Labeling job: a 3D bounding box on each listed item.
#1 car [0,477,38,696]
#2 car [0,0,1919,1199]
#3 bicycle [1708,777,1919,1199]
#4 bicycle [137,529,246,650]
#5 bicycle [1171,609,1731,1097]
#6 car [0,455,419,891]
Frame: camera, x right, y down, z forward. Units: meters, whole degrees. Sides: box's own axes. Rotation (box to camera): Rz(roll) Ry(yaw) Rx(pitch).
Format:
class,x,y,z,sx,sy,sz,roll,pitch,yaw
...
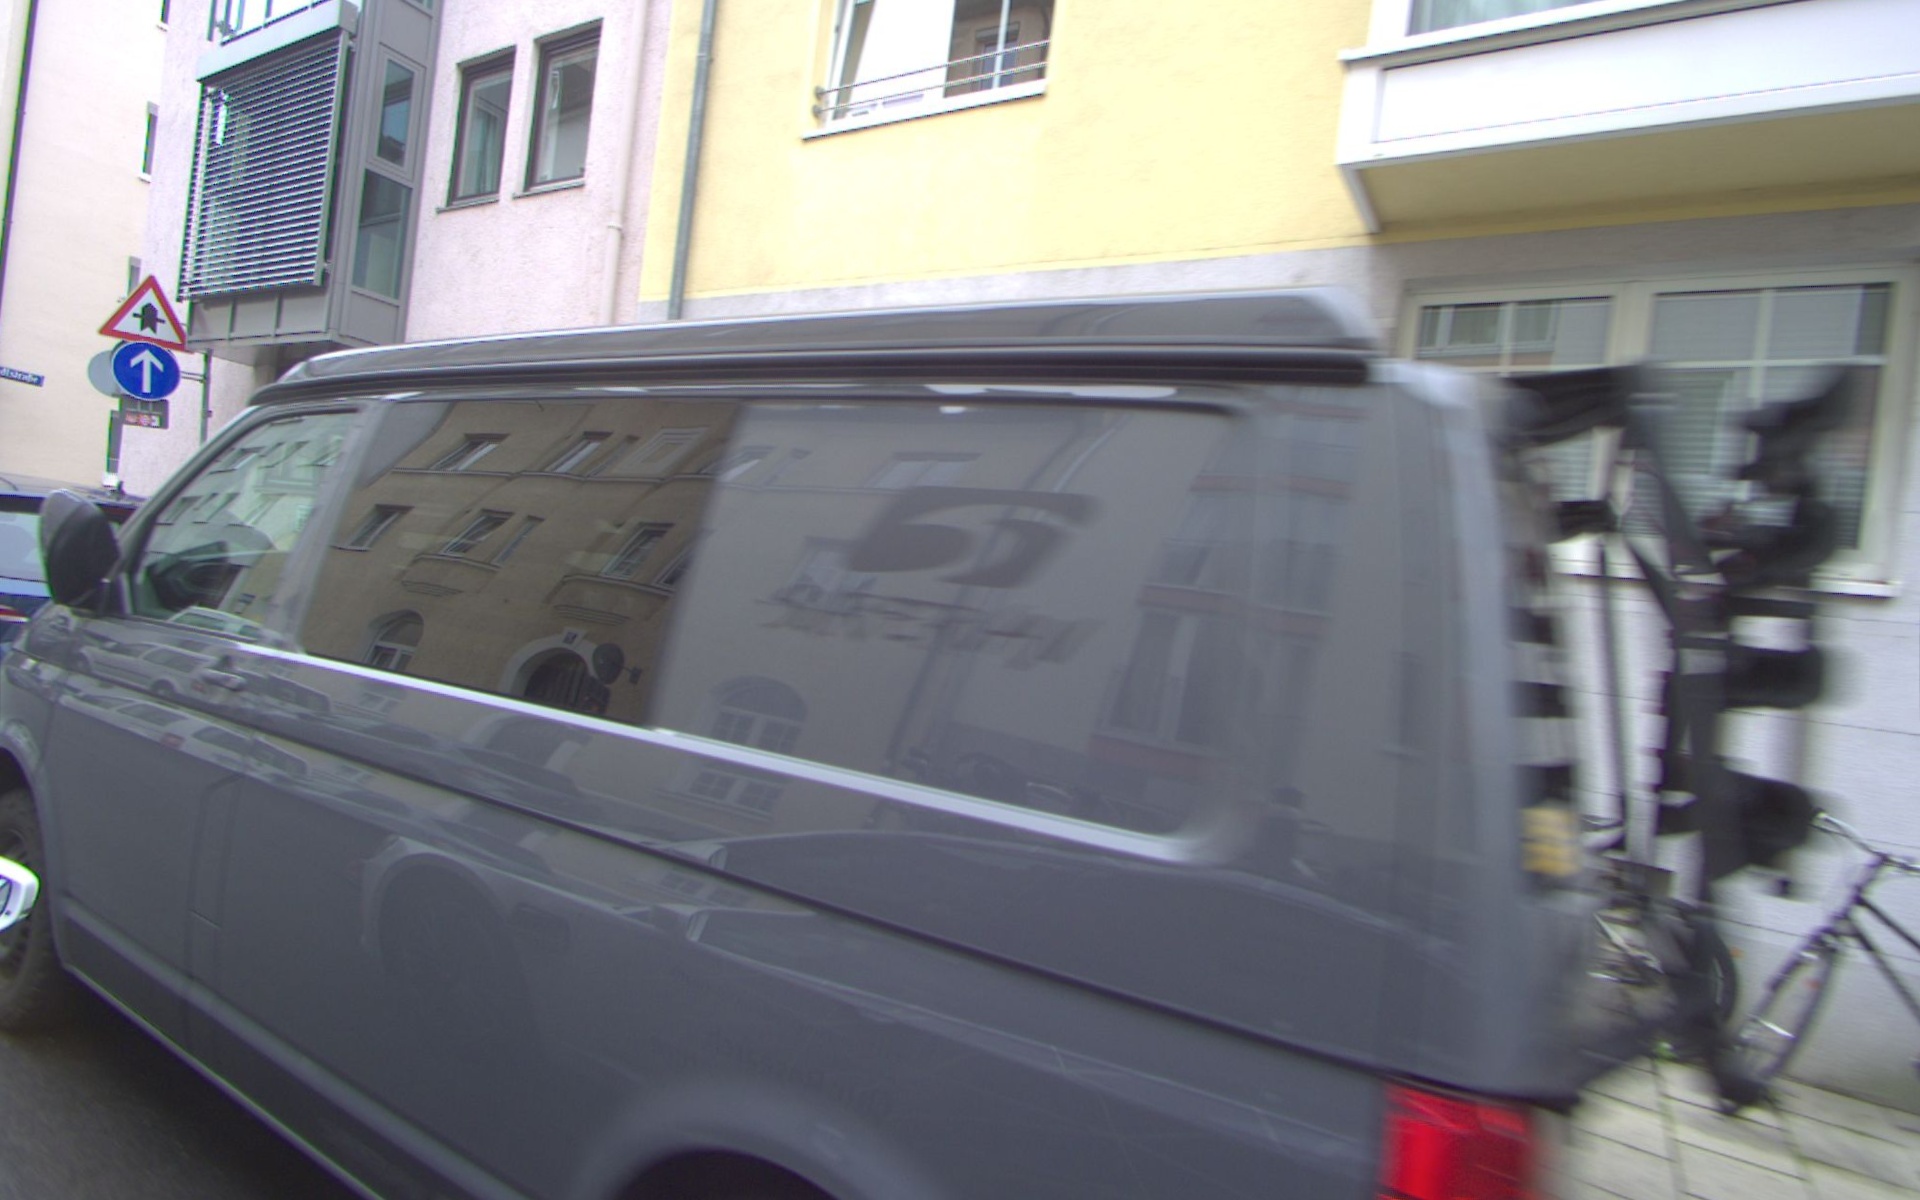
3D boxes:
class,x,y,z,sx,sy,sz,roll,pitch,yaw
car,-9.449,-0.375,8.018,4.338,1.640,1.836,6,-2,31
car,-0.923,0.396,2.811,5.022,2.037,1.876,6,-2,31
bicycle,3.541,1.352,3.054,1.837,1.176,0.635,10,1,32
bicycle,-8.369,-0.128,10.942,1.517,1.136,0.357,7,1,33
bicycle,1.955,0.927,4.251,1.837,1.489,0.433,10,1,33
car,-5.098,0.139,5.390,4.251,1.640,1.836,7,-2,31
